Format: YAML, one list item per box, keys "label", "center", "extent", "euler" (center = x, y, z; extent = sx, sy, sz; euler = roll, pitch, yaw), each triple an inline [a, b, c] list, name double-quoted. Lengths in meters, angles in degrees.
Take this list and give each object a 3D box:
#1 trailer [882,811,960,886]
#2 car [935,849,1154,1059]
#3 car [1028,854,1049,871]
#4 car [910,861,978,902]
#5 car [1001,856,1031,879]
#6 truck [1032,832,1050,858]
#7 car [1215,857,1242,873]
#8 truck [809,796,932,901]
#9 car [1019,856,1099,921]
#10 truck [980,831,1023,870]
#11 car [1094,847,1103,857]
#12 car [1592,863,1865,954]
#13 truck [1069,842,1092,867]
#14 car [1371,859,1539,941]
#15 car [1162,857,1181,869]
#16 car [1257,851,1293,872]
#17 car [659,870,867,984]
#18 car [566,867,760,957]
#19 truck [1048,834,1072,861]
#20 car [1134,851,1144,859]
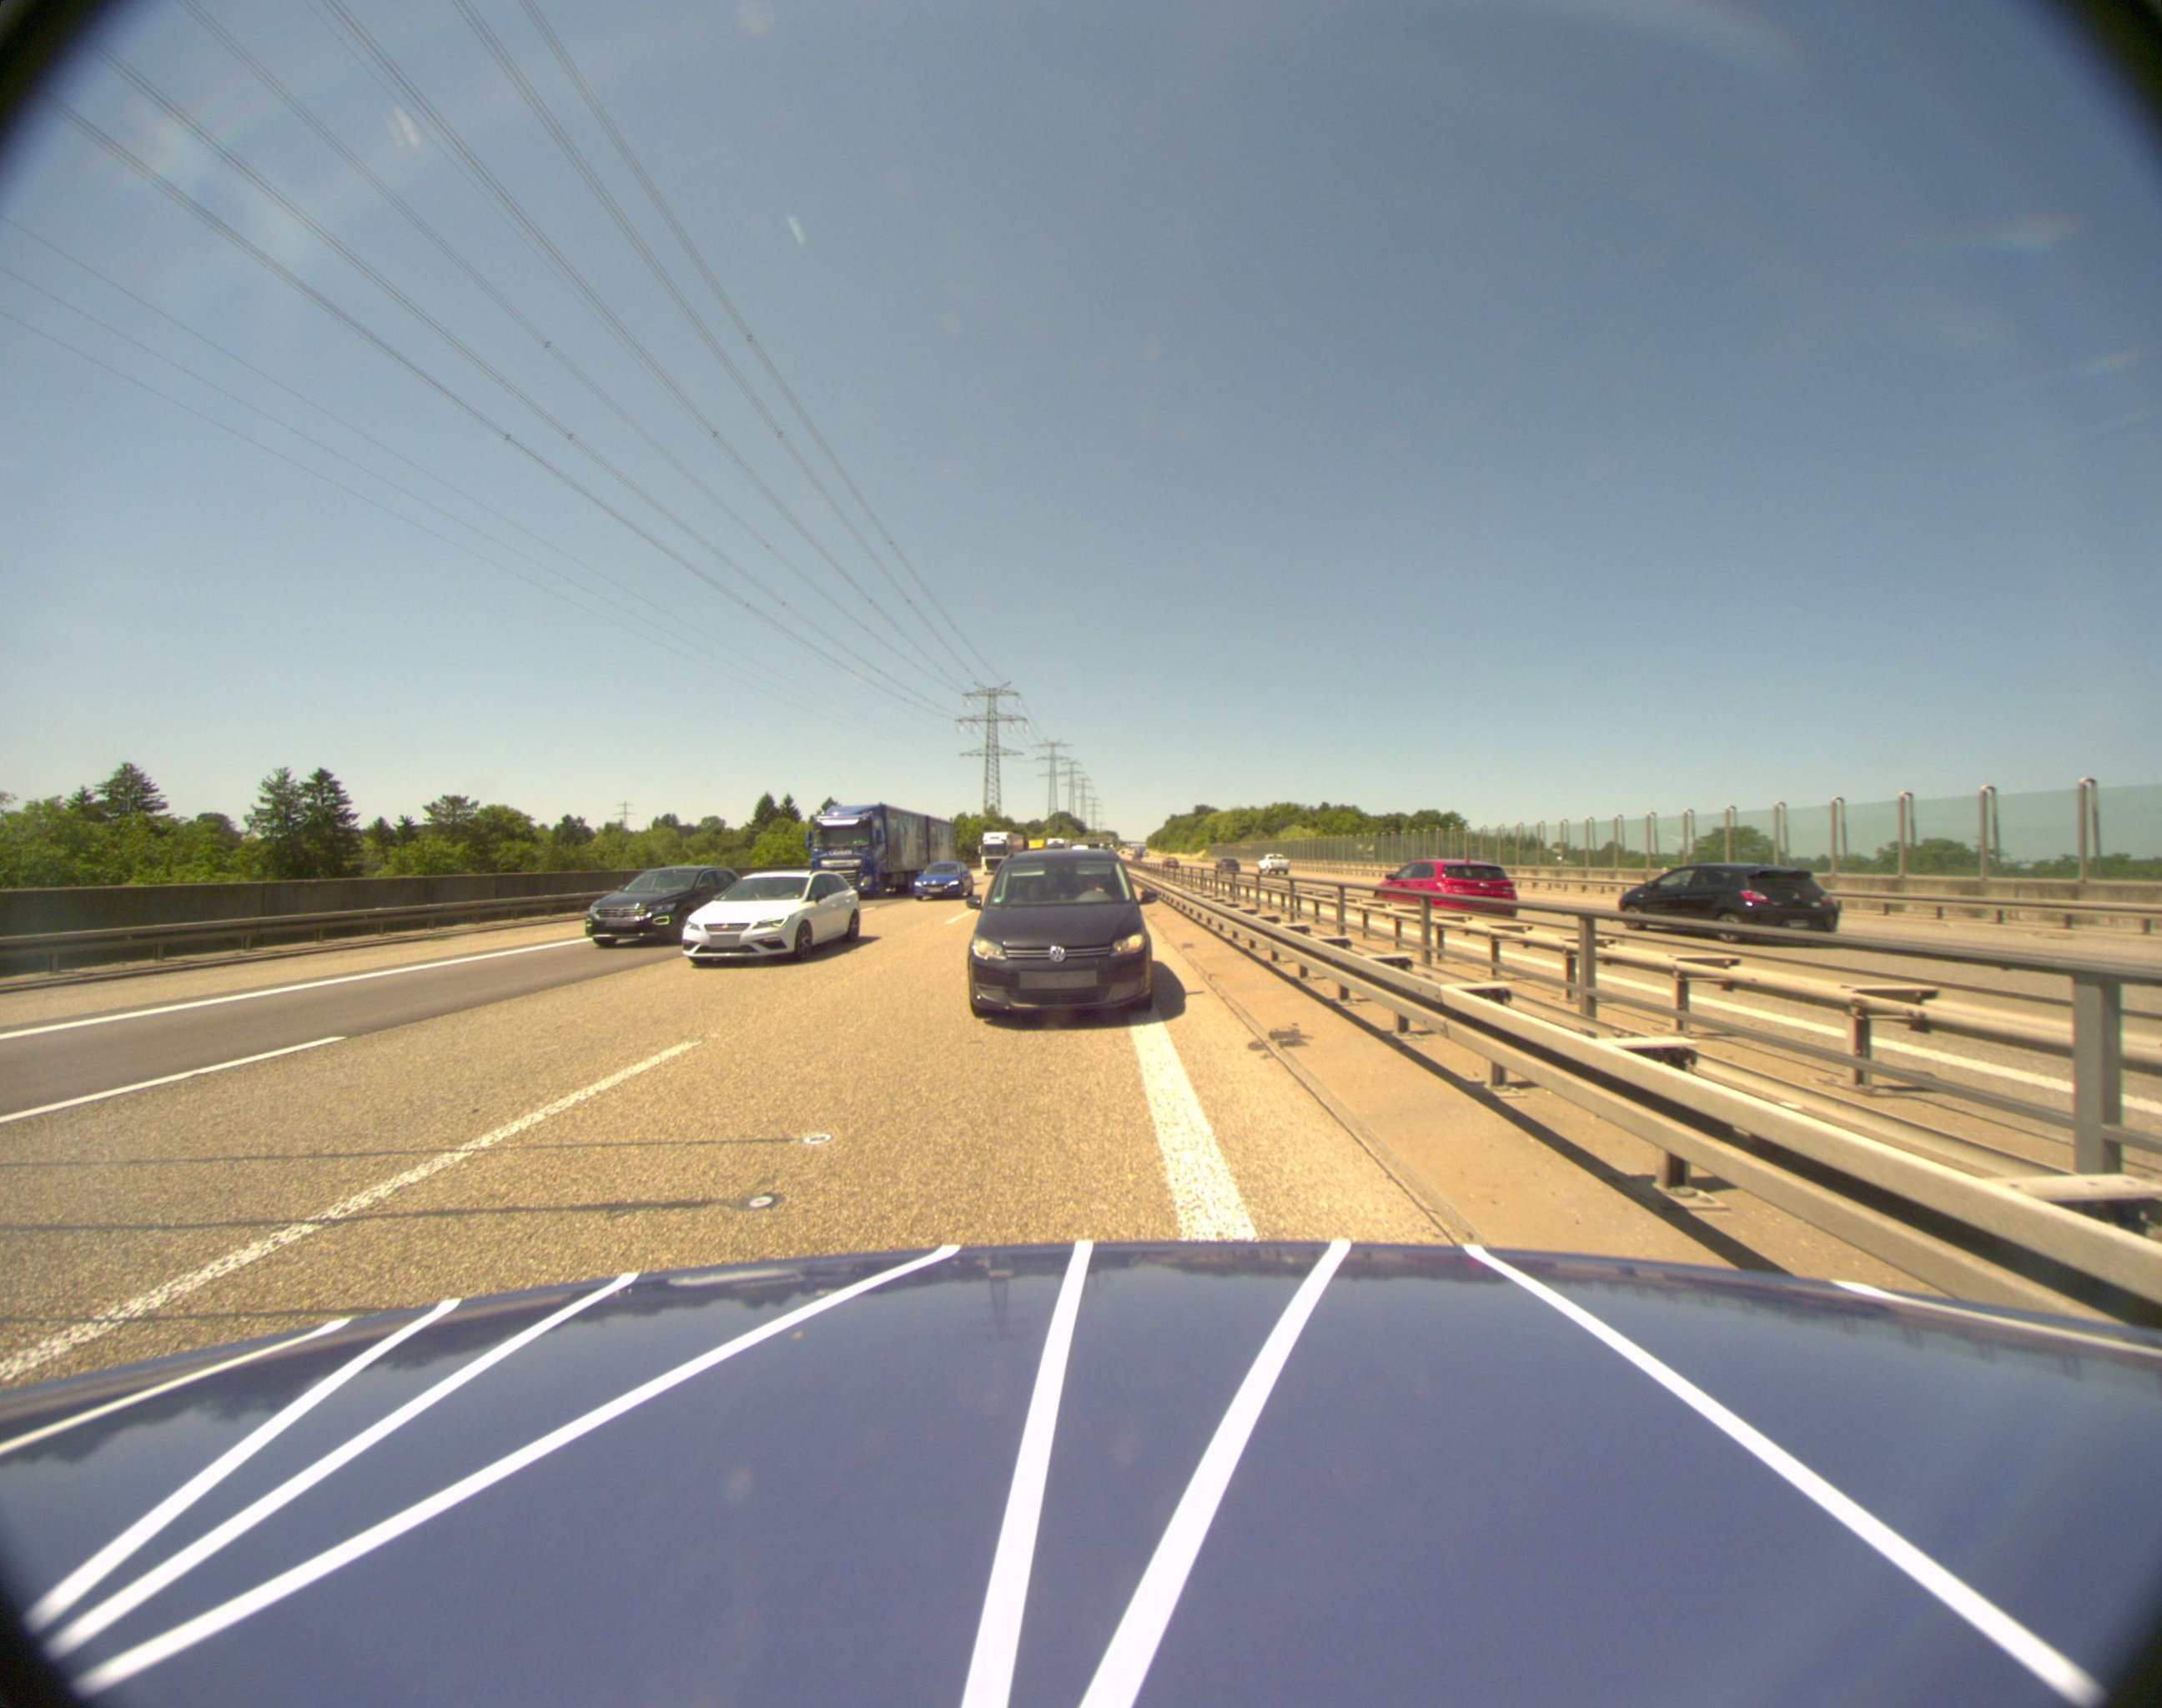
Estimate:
- label: "trailer"
  center: [-9.123, -0.339, 44.351]
  extent: [2.572, 3.922, 8.478]
  euler: [-2, 1, 1]
- label: "car"
  center: [-0.286, 0.813, 8.244]
  extent: [1.740, 1.652, 3.999]
  euler: [-2, 1, 0]
- label: "car"
  center: [-3.933, 0.768, 70.866]
  extent: [1.763, 1.495, 4.094]
  euler: [-1, 0, 0]
- label: "car"
  center: [-5.278, 1.027, 29.881]
  extent: [1.739, 1.437, 4.211]
  euler: [-1, 0, 2]
- label: "car"
  center: [-4.637, 0.922, 54.495]
  extent: [1.763, 1.495, 4.094]
  euler: [-2, 0, 0]
- label: "truck"
  center: [-6.612, -1.452, 126.726]
  extent: [2.346, 4.058, 8.278]
  euler: [-2, 1, 1]
- label: "car"
  center: [12.974, 0.964, 67.032]
  extent: [1.601, 1.342, 4.179]
  euler: [1, 0, 1]
- label: "truck"
  center: [-9.231, -0.280, 34.869]
  extent: [2.529, 4.043, 10.446]
  euler: [-2, 1, 1]
- label: "car"
  center: [-0.499, 0.826, 20.151]
  extent: [1.845, 1.495, 4.377]
  euler: [-1, 0, 1]
- label: "truck"
  center: [-7.893, -0.352, 76.786]
  extent: [2.985, 3.538, 10.967]
  euler: [-2, 1, 1]
- label: "car"
  center: [3.946, -0.480, 170.803]
  extent: [1.998, 2.002, 4.000]
  euler: [-2, 1, 1]
- label: "car"
  center: [12.698, 0.973, 15.363]
  extent: [1.734, 1.483, 4.419]
  euler: [1, 0, 0]
- label: "truck"
  center: [-0.005, 0.044, 80.679]
  extent: [2.284, 2.479, 5.861]
  euler: [-2, 0, 1]
- label: "car"
  center: [8.175, 0.923, 17.073]
  extent: [1.795, 1.469, 3.988]
  euler: [3, 1, 1]
- label: "car"
  center: [10.043, 0.959, 84.202]
  extent: [1.601, 1.310, 4.341]
  euler: [1, 0, 0]
- label: "car"
  center: [17.812, 0.668, 70.018]
  extent: [1.998, 1.874, 5.256]
  euler: [1, 0, 0]
- label: "car"
  center: [-5.178, 1.094, 13.054]
  extent: [1.843, 1.481, 4.071]
  euler: [-2, 0, -1]
- label: "car"
  center: [-8.600, 1.109, 16.109]
  extent: [1.740, 1.518, 4.106]
  euler: [-2, 0, 1]
- label: "truck"
  center: [-3.091, -0.958, 112.803]
  extent: [2.980, 3.832, 10.561]
  euler: [-2, 1, 1]
- label: "car"
  center: [12.509, 0.277, 164.380]
  extent: [1.810, 1.618, 4.477]
  euler: [-2, 0, 0]
